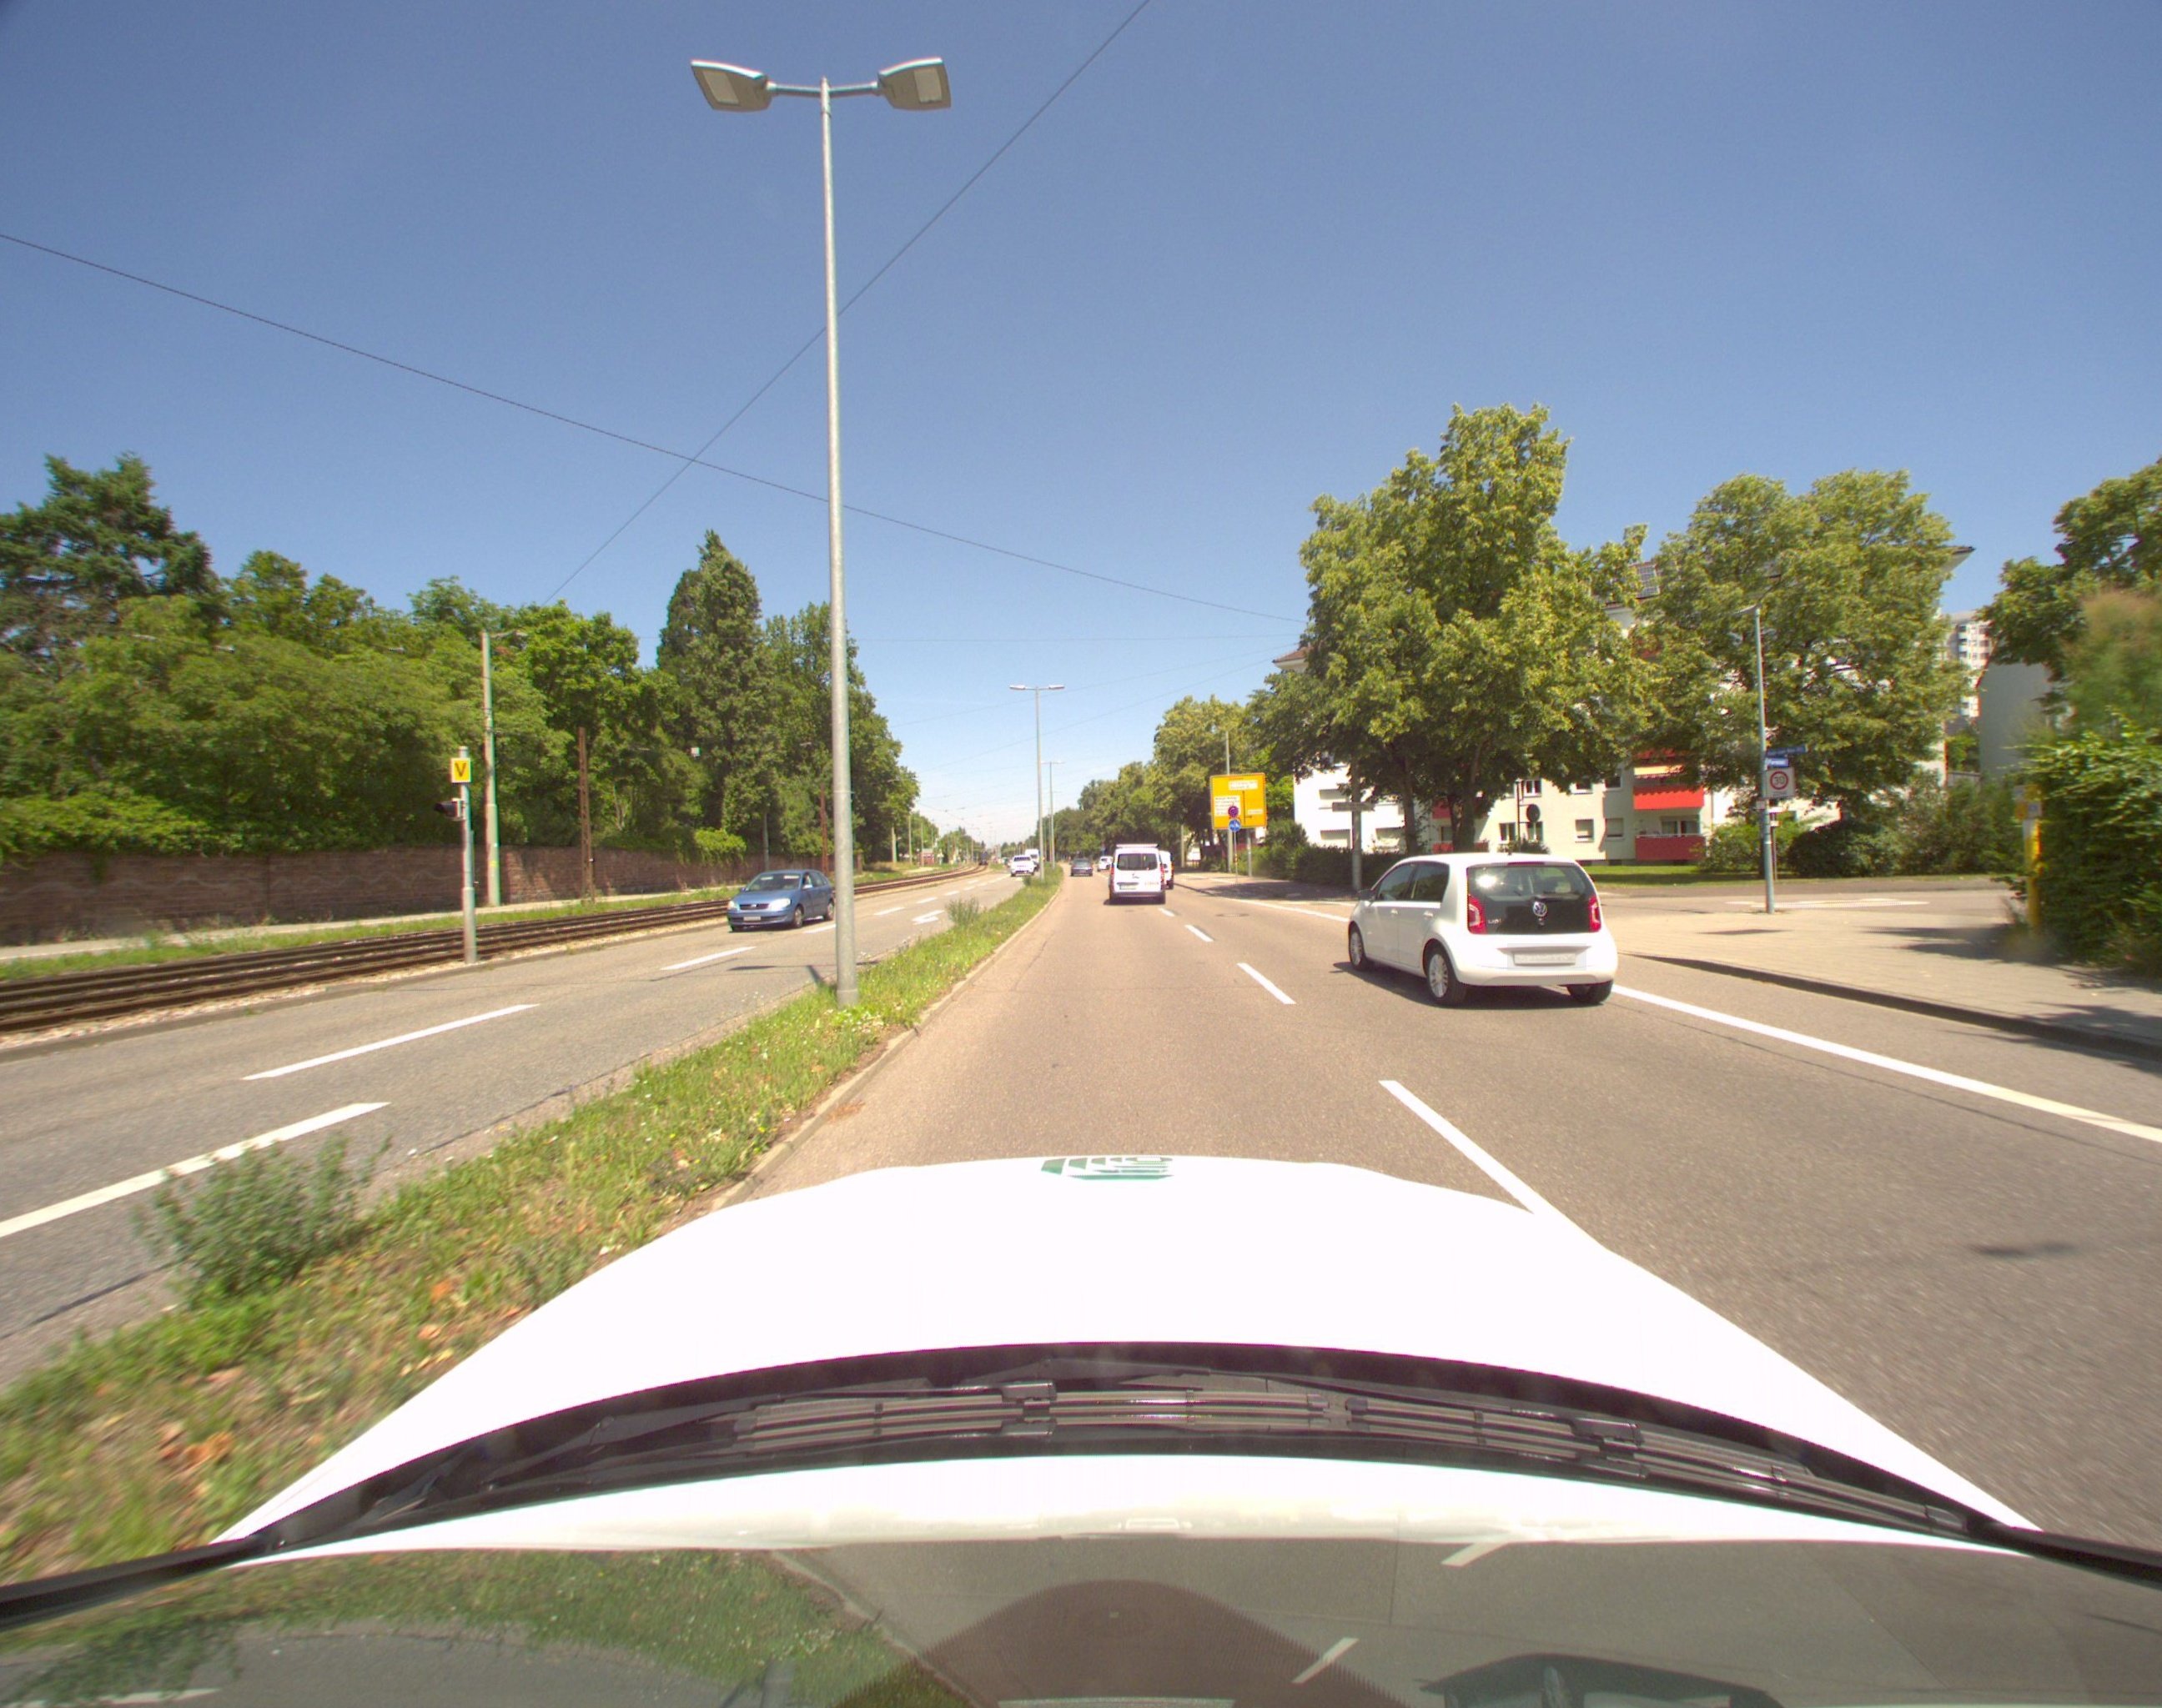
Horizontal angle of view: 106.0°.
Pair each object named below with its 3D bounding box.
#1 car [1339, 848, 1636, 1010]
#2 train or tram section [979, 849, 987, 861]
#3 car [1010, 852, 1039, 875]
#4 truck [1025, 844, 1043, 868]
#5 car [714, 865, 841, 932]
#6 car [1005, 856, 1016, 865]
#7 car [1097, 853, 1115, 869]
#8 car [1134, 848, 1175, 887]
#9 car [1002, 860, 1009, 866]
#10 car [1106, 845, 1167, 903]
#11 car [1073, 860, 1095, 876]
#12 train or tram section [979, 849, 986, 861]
[{"bbox_3d":[4.241,0.669,9.116,1.605,1.447,3.434,0,1,-1],"label":"car"},{"bbox_3d":[-25.461,0.247,210.679,1.992,3.086,16.127,0,0,-7],"label":"train or tram section"},{"bbox_3d":[-4.731,0.733,68.469,1.986,1.816,4.001,-2,0,1],"label":"car"},{"bbox_3d":[-6.527,0.215,113.773,1.986,3.213,5.313,-2,0,1],"label":"truck"},{"bbox_3d":[-7.635,1.055,20.901,1.692,1.439,3.999,-2,0,0],"label":"car"},{"bbox_3d":[-12.744,1.198,147.257,1.743,1.567,3.995,0,0,-3],"label":"car"},{"bbox_3d":[2.555,0.694,82.327,1.828,1.568,4.003,0,1,2],"label":"car"},{"bbox_3d":[3.499,0.623,39.259,1.721,1.788,4.066,0,0,1],"label":"car"},{"bbox_3d":[-19.179,2.327,206.826,1.743,1.567,3.995,0,0,-3],"label":"car"},{"bbox_3d":[1.767,0.600,26.729,1.814,1.739,4.399,0,0,2],"label":"car"},{"bbox_3d":[0.256,1.062,64.208,1.686,1.215,3.590,0,0,1],"label":"car"},{"bbox_3d":[-27.601,0.376,228.338,1.992,3.086,19.451,0,0,-7],"label":"train or tram section"}]
